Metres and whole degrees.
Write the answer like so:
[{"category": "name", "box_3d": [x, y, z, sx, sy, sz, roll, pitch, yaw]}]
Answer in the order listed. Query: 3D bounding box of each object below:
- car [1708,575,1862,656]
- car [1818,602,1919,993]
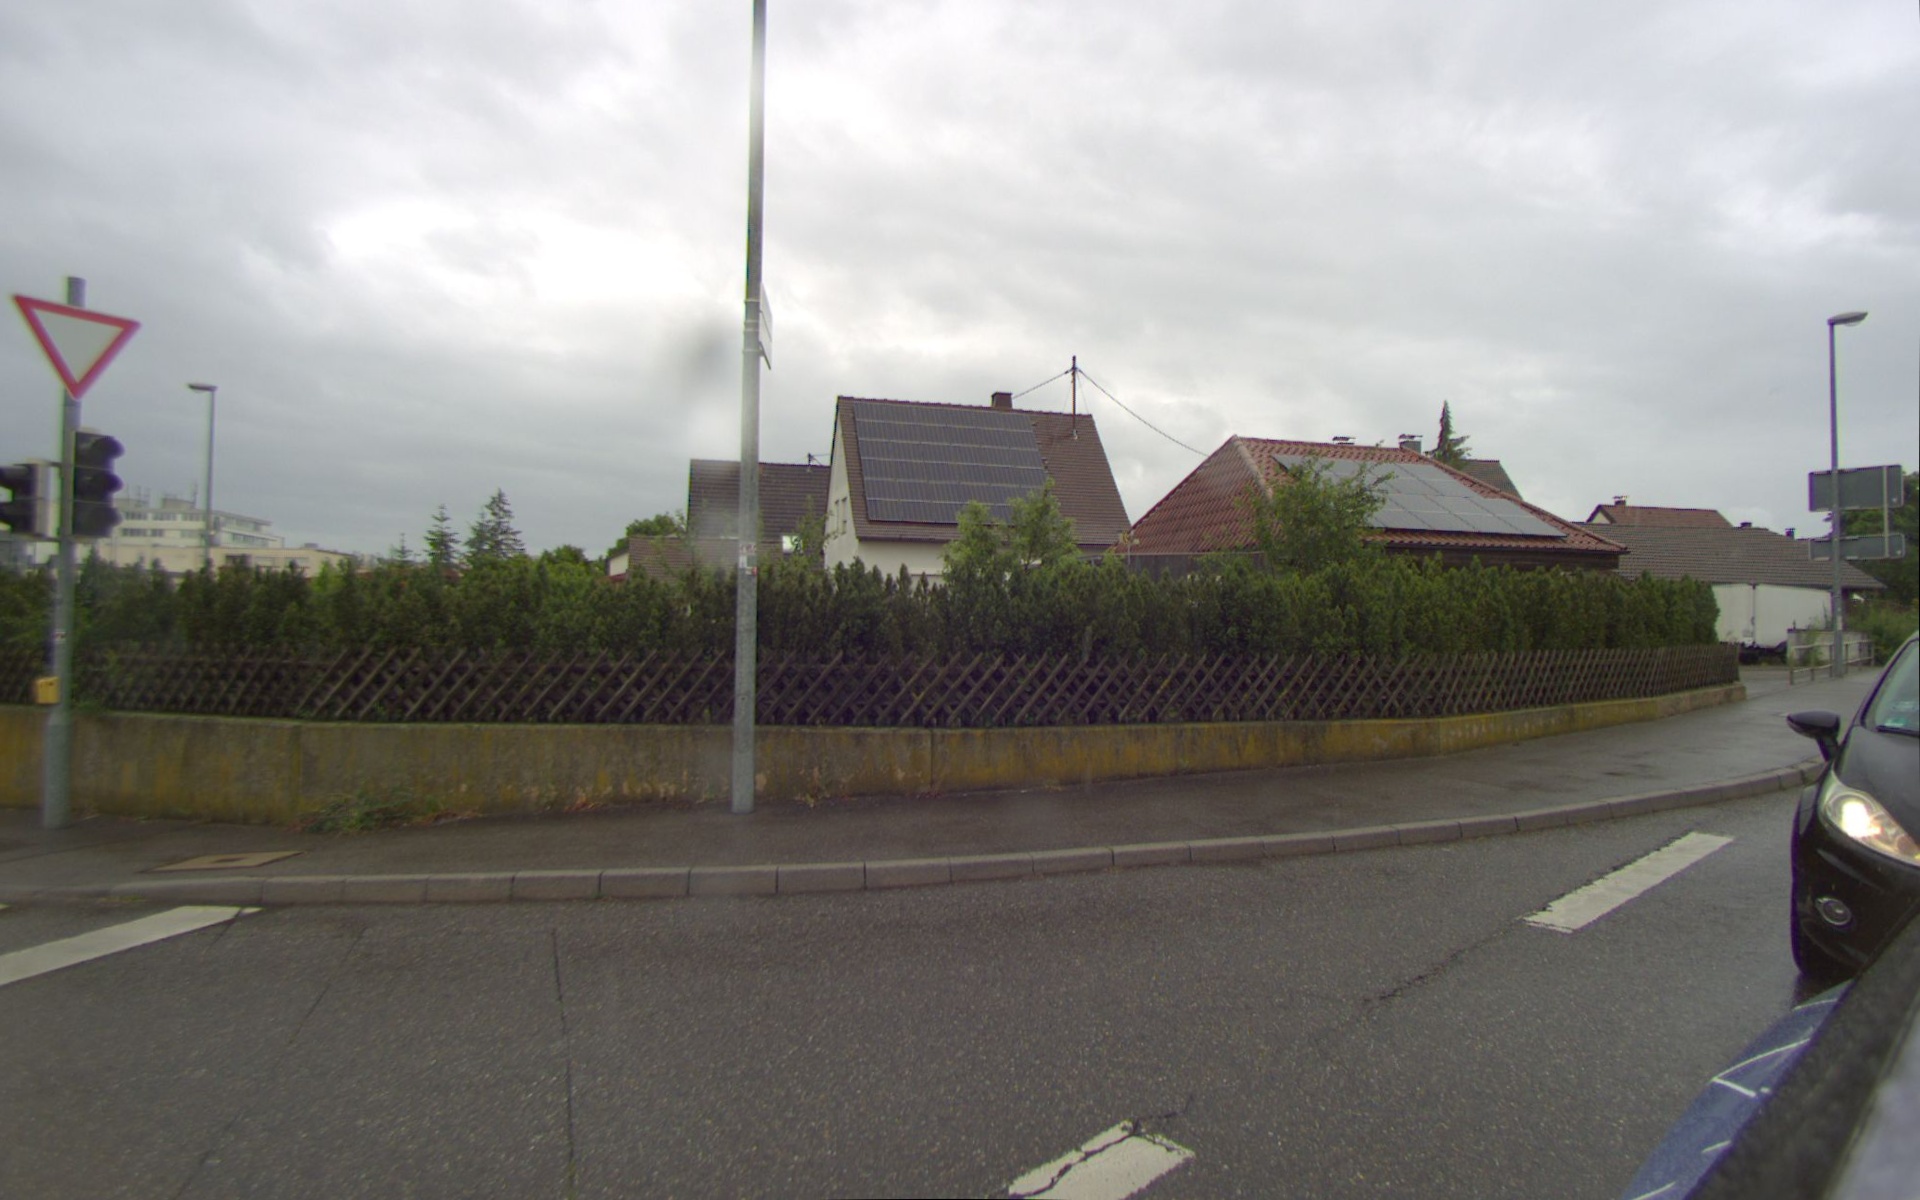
[{"category": "car", "box_3d": [25.402, 0.460, 31.182, 3.916, 2.380, 1.657, 0, -1, -14]}, {"category": "car", "box_3d": [5.405, 0.754, 4.759, 3.867, 1.436, 1.663, -1, 1, -43]}]
